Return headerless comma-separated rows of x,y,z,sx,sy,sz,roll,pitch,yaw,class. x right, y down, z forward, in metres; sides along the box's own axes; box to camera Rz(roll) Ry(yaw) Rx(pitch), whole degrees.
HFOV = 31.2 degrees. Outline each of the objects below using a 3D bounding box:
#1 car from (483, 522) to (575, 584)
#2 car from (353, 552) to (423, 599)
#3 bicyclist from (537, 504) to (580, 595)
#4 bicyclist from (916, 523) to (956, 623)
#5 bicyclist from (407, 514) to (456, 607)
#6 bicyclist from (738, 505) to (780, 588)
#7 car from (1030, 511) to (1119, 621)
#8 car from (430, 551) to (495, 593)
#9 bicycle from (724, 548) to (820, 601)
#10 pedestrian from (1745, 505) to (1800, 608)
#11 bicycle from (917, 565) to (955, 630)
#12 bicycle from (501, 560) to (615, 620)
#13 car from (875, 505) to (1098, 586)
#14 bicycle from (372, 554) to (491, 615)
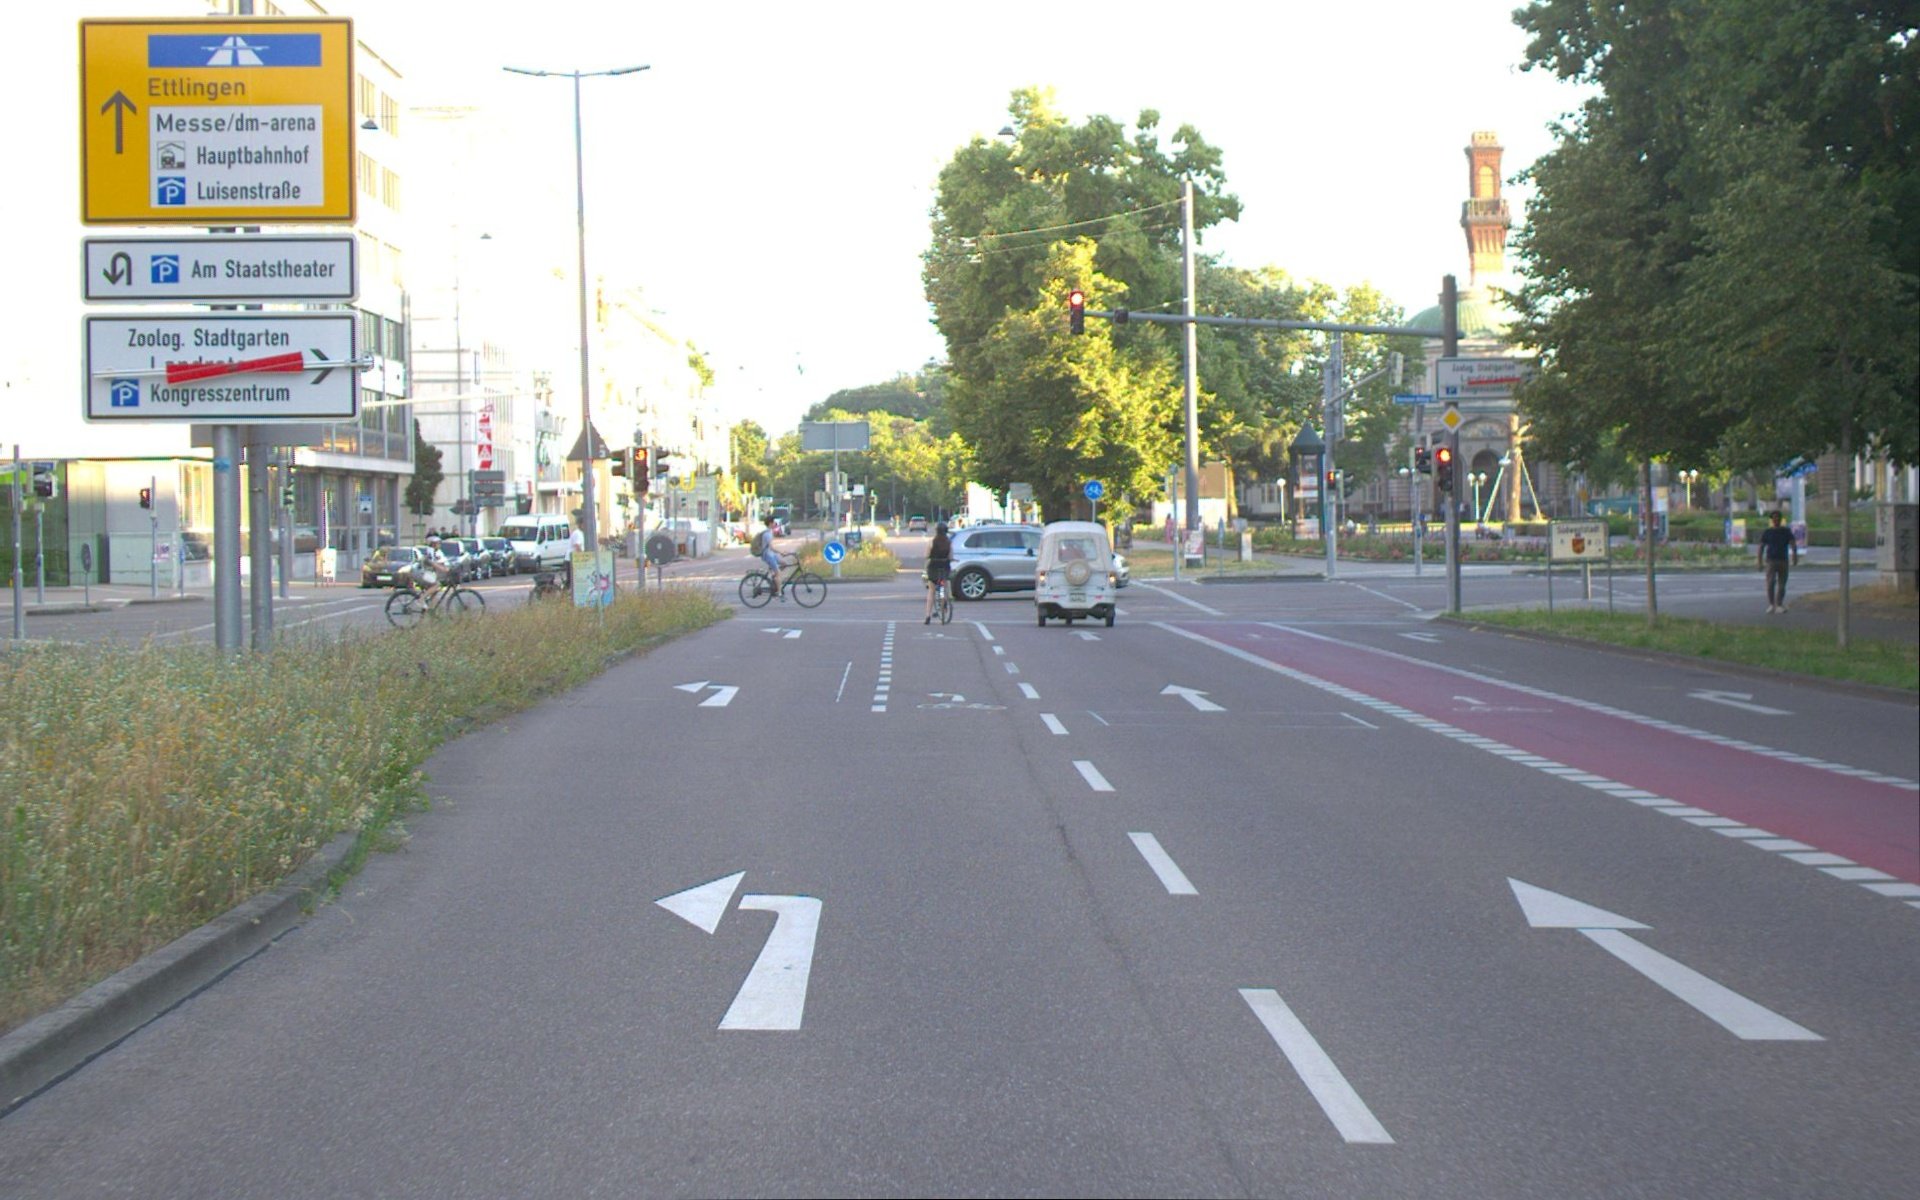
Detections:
-18.449,-1.988,147.387,2.177,2.377,5.986,-2,-1,10,car
-19.557,-0.824,117.670,1.796,1.470,4.000,-1,-1,-2,car
-7.529,-0.946,64.508,0.746,1.687,0.765,-1,1,-5,bicyclist
-0.416,-0.464,58.505,0.628,1.687,0.748,-1,1,-1,bicyclist
-9.656,-0.723,62.776,0.746,1.687,0.715,-1,1,0,bicyclist
-4.103,-1.094,70.252,0.746,1.687,0.715,-1,1,2,bicyclist
1.932,-0.601,58.261,1.459,1.774,2.564,0,2,1,car
-19.429,-1.084,134.391,1.796,1.470,3.999,-1,-1,3,car
-3.836,-0.520,70.256,1.896,1.065,0.731,0,1,2,bicycle
13.608,-0.728,57.618,0.695,1.687,0.748,-1,1,-2,pedestrian
-0.417,-0.049,58.827,0.637,1.065,2.069,0,1,-1,bicycle
-7.537,-0.184,64.537,2.057,1.065,0.787,-1,1,-2,bicycle
0.557,-1.194,74.589,4.532,1.642,2.001,-1,1,-9,car
-9.647,-0.284,62.796,2.015,1.065,0.731,-1,1,2,bicycle
